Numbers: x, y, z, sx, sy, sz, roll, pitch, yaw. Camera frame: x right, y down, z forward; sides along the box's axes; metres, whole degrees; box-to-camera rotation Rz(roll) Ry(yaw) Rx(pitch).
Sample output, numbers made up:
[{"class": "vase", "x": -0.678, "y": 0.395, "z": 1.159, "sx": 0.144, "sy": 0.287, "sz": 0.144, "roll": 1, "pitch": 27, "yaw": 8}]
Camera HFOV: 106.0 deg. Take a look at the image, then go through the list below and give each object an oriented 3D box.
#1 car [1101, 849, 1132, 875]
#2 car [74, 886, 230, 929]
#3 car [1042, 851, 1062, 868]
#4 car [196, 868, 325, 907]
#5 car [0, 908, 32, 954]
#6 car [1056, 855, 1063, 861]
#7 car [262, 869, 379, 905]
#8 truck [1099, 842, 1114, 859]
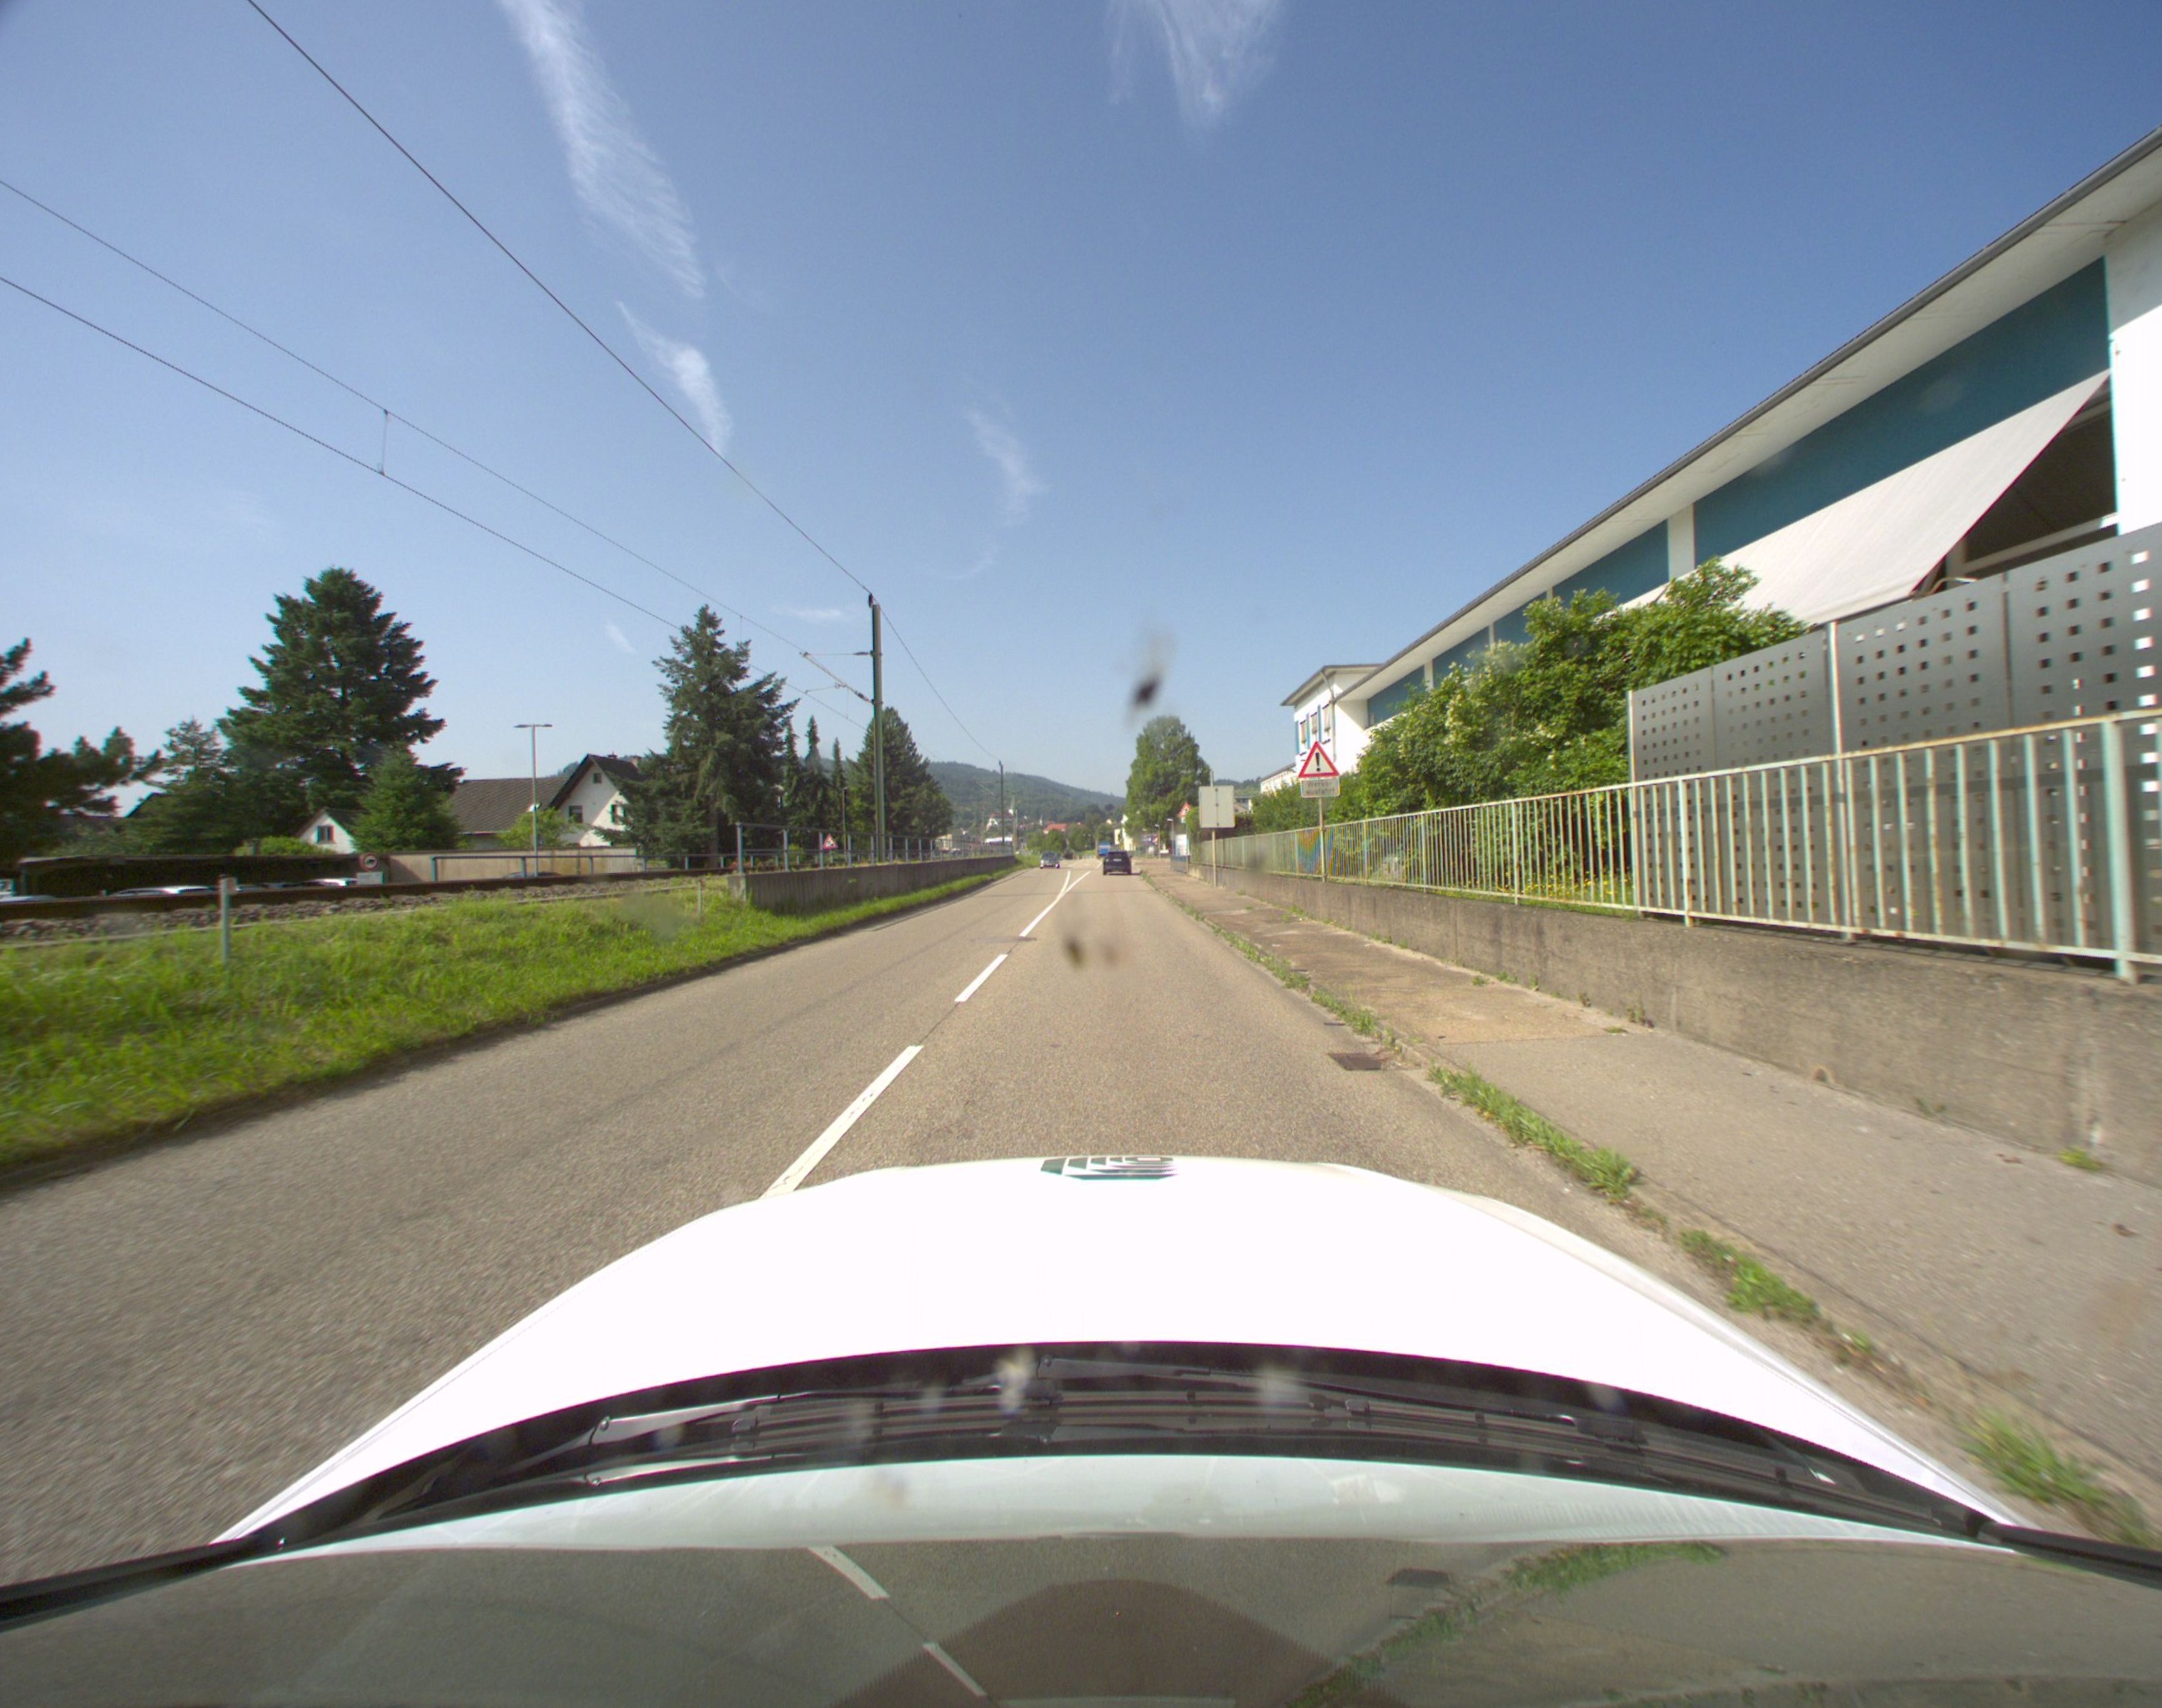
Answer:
[{"class": "car", "x": 2.407, "y": 0.511, "z": 54.168, "sx": 1.911, "sy": 1.640, "sz": 4.003, "roll": -2, "pitch": 0, "yaw": 3}, {"class": "car", "x": -38.041, "y": 2.153, "z": 33.449, "sx": 3.984, "sy": 1.536, "sz": 1.813, "roll": -1, "pitch": 0, "yaw": -8}, {"class": "car", "x": -2.658, "y": 0.498, "z": 75.319, "sx": 1.736, "sy": 1.507, "sz": 4.199, "roll": -1, "pitch": 0, "yaw": 0}, {"class": "car", "x": -38.863, "y": 1.559, "z": 38.677, "sx": 3.984, "sy": 1.665, "sz": 1.813, "roll": -1, "pitch": 0, "yaw": -8}, {"class": "car", "x": -33.804, "y": 2.396, "z": 23.962, "sx": 1.438, "sy": 1.325, "sz": 3.559, "roll": -3, "pitch": 0, "yaw": 38}, {"class": "car", "x": -5.542, "y": 0.910, "z": 207.357, "sx": 1.750, "sy": 1.429, "sz": 3.998, "roll": -2, "pitch": 0, "yaw": -1}, {"class": "car", "x": -38.579, "y": 1.661, "z": 41.383, "sx": 3.984, "sy": 1.665, "sz": 1.813, "roll": -1, "pitch": 0, "yaw": -8}, {"class": "truck", "x": 4.566, "y": -0.600, "z": 147.118, "sx": 2.306, "sy": 2.970, "sz": 5.963, "roll": -2, "pitch": 0, "yaw": -1}]
